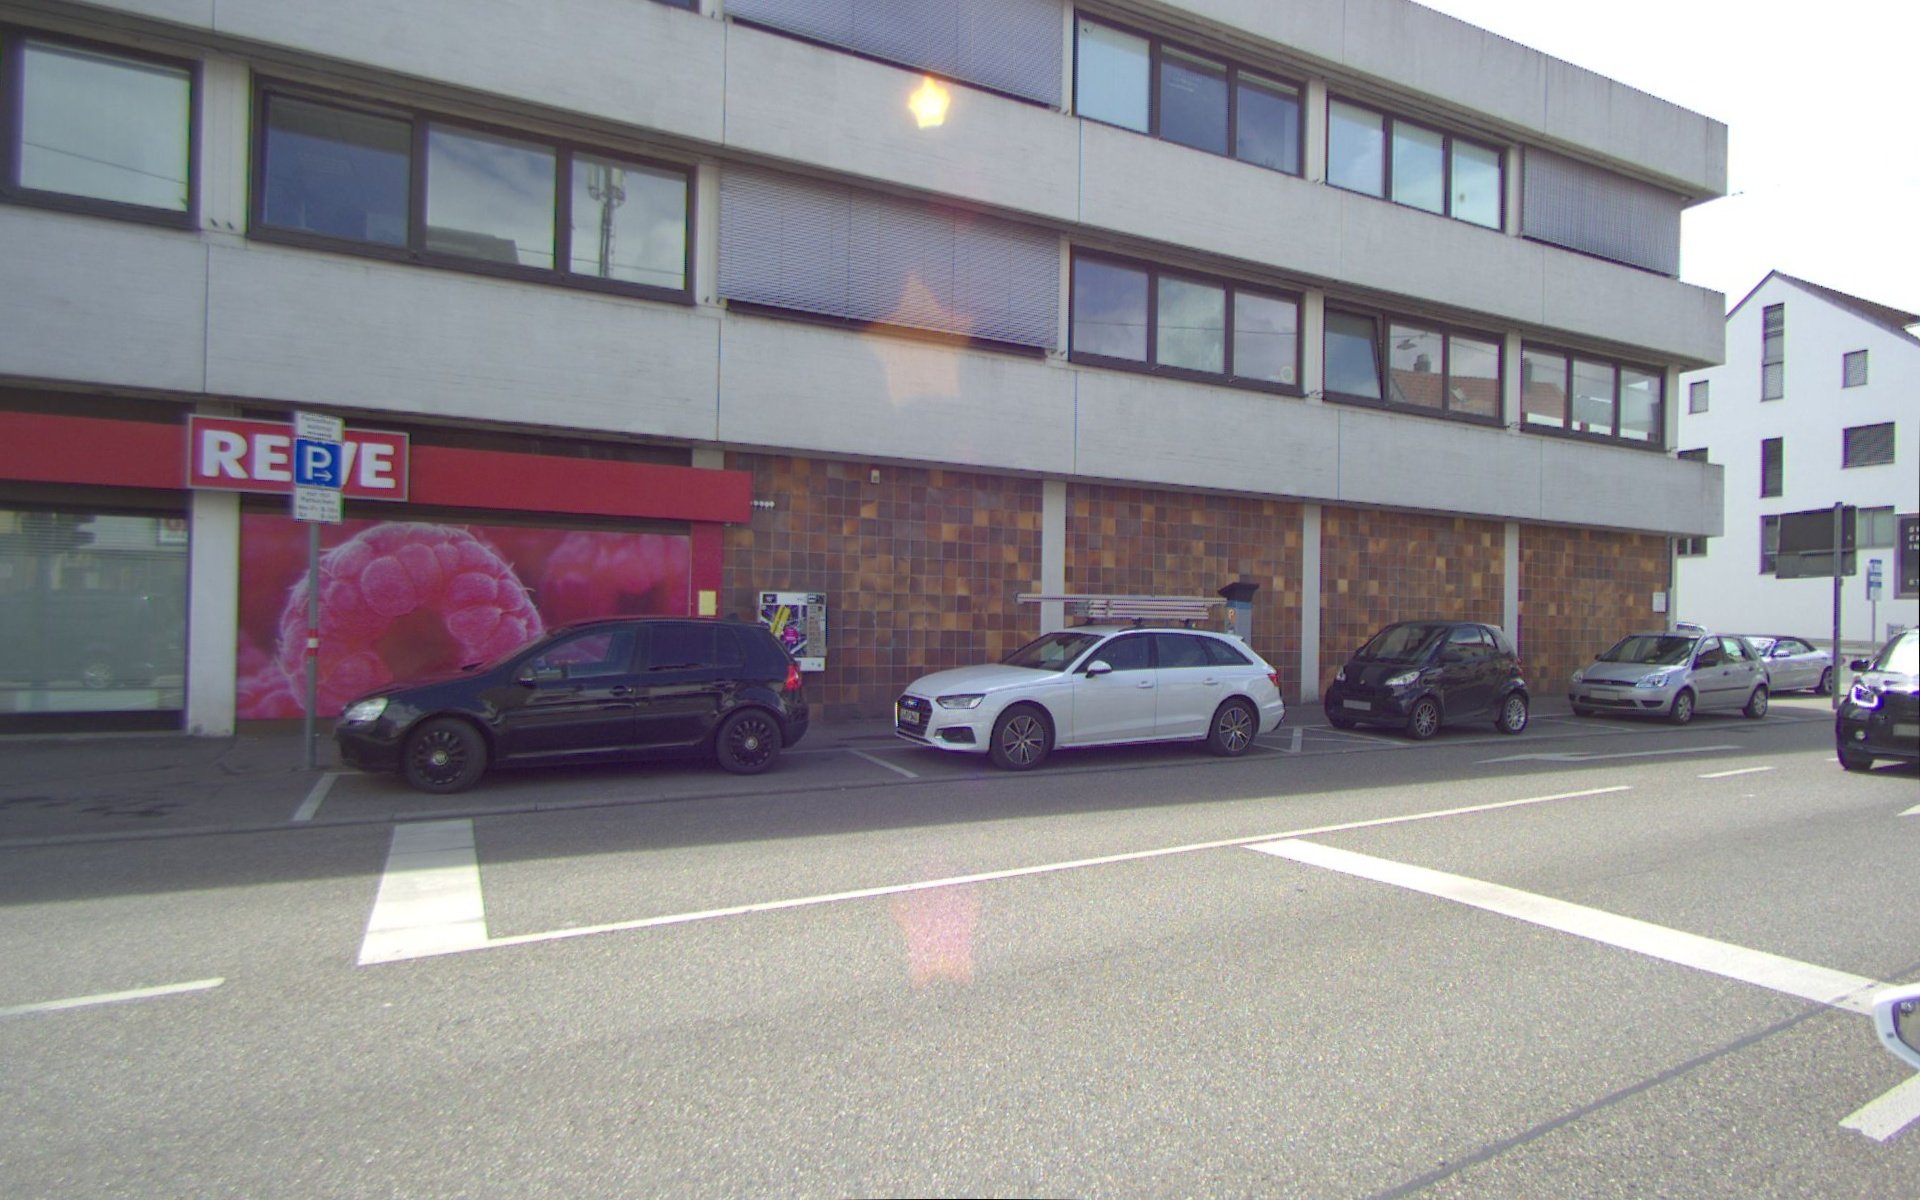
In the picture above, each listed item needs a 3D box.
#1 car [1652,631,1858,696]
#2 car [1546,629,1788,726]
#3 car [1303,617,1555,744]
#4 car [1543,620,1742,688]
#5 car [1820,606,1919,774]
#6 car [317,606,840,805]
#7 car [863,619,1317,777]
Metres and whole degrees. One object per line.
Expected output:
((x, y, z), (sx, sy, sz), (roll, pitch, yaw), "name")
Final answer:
((18.693, 1.444, 23.600), (4.791, 1.376, 1.945), (1, -1, -26), "car")
((12.098, 1.250, 17.156), (4.095, 1.441, 1.715), (1, 0, -28), "car")
((6.601, 1.054, 14.155), (3.016, 1.576, 1.730), (1, 0, -27), "car")
((17.694, 1.379, 26.039), (4.860, 1.640, 1.947), (0, -4, -24), "car")
((10.670, 0.908, 10.600), (2.802, 1.657, 1.668), (1, -2, -32), "car")
((-3.495, 0.846, 9.550), (4.232, 1.495, 2.036), (1, 0, -29), "car")
((1.539, 0.989, 11.543), (4.888, 1.463, 2.037), (1, 0, -27), "car")
